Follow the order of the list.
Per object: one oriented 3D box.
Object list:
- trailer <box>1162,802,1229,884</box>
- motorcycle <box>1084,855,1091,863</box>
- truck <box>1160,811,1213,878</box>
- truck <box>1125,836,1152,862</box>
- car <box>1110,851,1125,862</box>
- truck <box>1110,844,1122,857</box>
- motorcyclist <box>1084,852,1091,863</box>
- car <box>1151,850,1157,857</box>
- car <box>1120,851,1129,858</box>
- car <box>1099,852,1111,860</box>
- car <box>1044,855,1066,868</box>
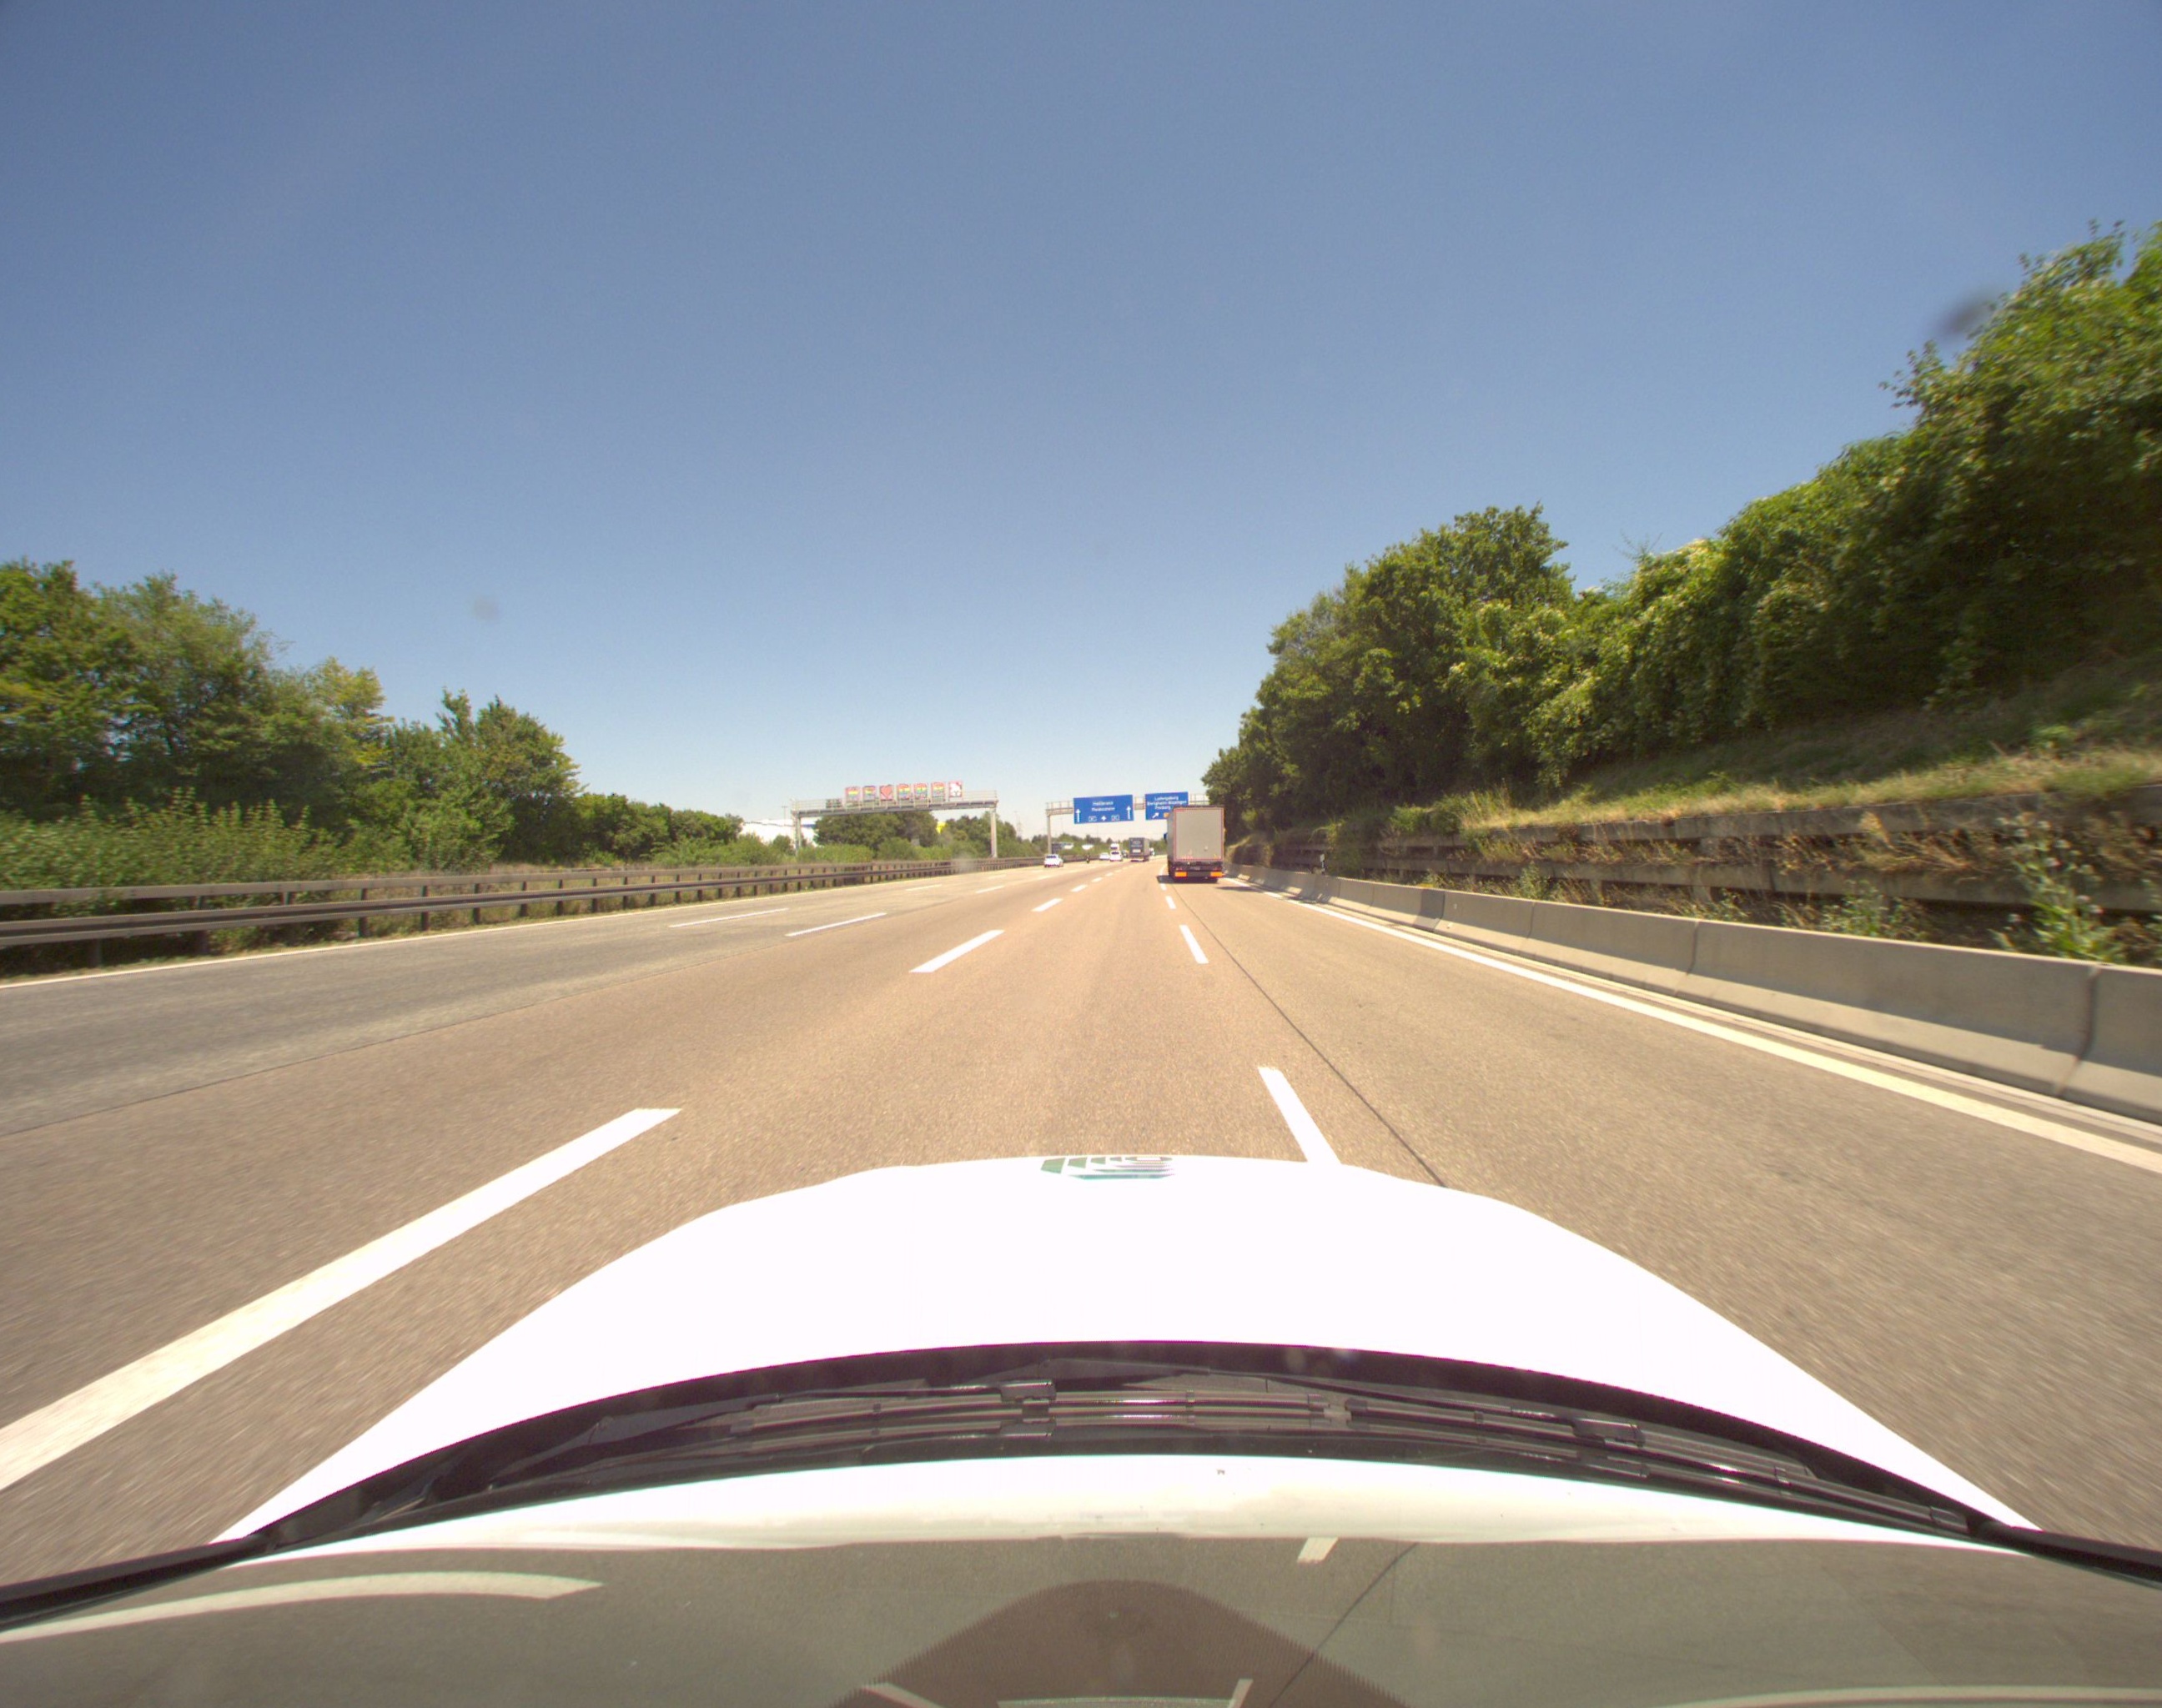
[{"bbox_3d":[6.316,-0.600,46.722,2.915,4.015,12.053,-2,1,4],"label":"trailer"},{"bbox_3d":[1.015,0.793,124.878,0.908,1.089,2.854,-1,-1,6],"label":"motorcycle"},{"bbox_3d":[6.852,-0.645,53.805,2.915,4.015,7.592,-2,1,4],"label":"truck"},{"bbox_3d":[10.154,-0.814,141.794,3.727,4.270,14.525,0,0,7],"label":"truck"},{"bbox_3d":[6.362,0.475,140.995,1.919,1.851,4.704,-2,0,9],"label":"car"},{"bbox_3d":[11.363,-1.134,259.995,2.737,4.207,10.427,0,0,8],"label":"truck"},{"bbox_3d":[1.013,0.537,124.912,0.889,1.597,1.301,-1,-1,6],"label":"motorcyclist"},{"bbox_3d":[22.546,-0.091,251.436,1.866,2.002,5.136,-1,-1,8],"label":"car"},{"bbox_3d":[10.101,0.149,188.116,1.747,1.409,5.049,-2,-2,7],"label":"car"},{"bbox_3d":[4.555,0.458,155.101,1.867,1.440,5.134,-1,-1,7],"label":"car"},{"bbox_3d":[-2.930,0.861,92.607,1.772,1.440,4.678,-1,0,7],"label":"car"}]
